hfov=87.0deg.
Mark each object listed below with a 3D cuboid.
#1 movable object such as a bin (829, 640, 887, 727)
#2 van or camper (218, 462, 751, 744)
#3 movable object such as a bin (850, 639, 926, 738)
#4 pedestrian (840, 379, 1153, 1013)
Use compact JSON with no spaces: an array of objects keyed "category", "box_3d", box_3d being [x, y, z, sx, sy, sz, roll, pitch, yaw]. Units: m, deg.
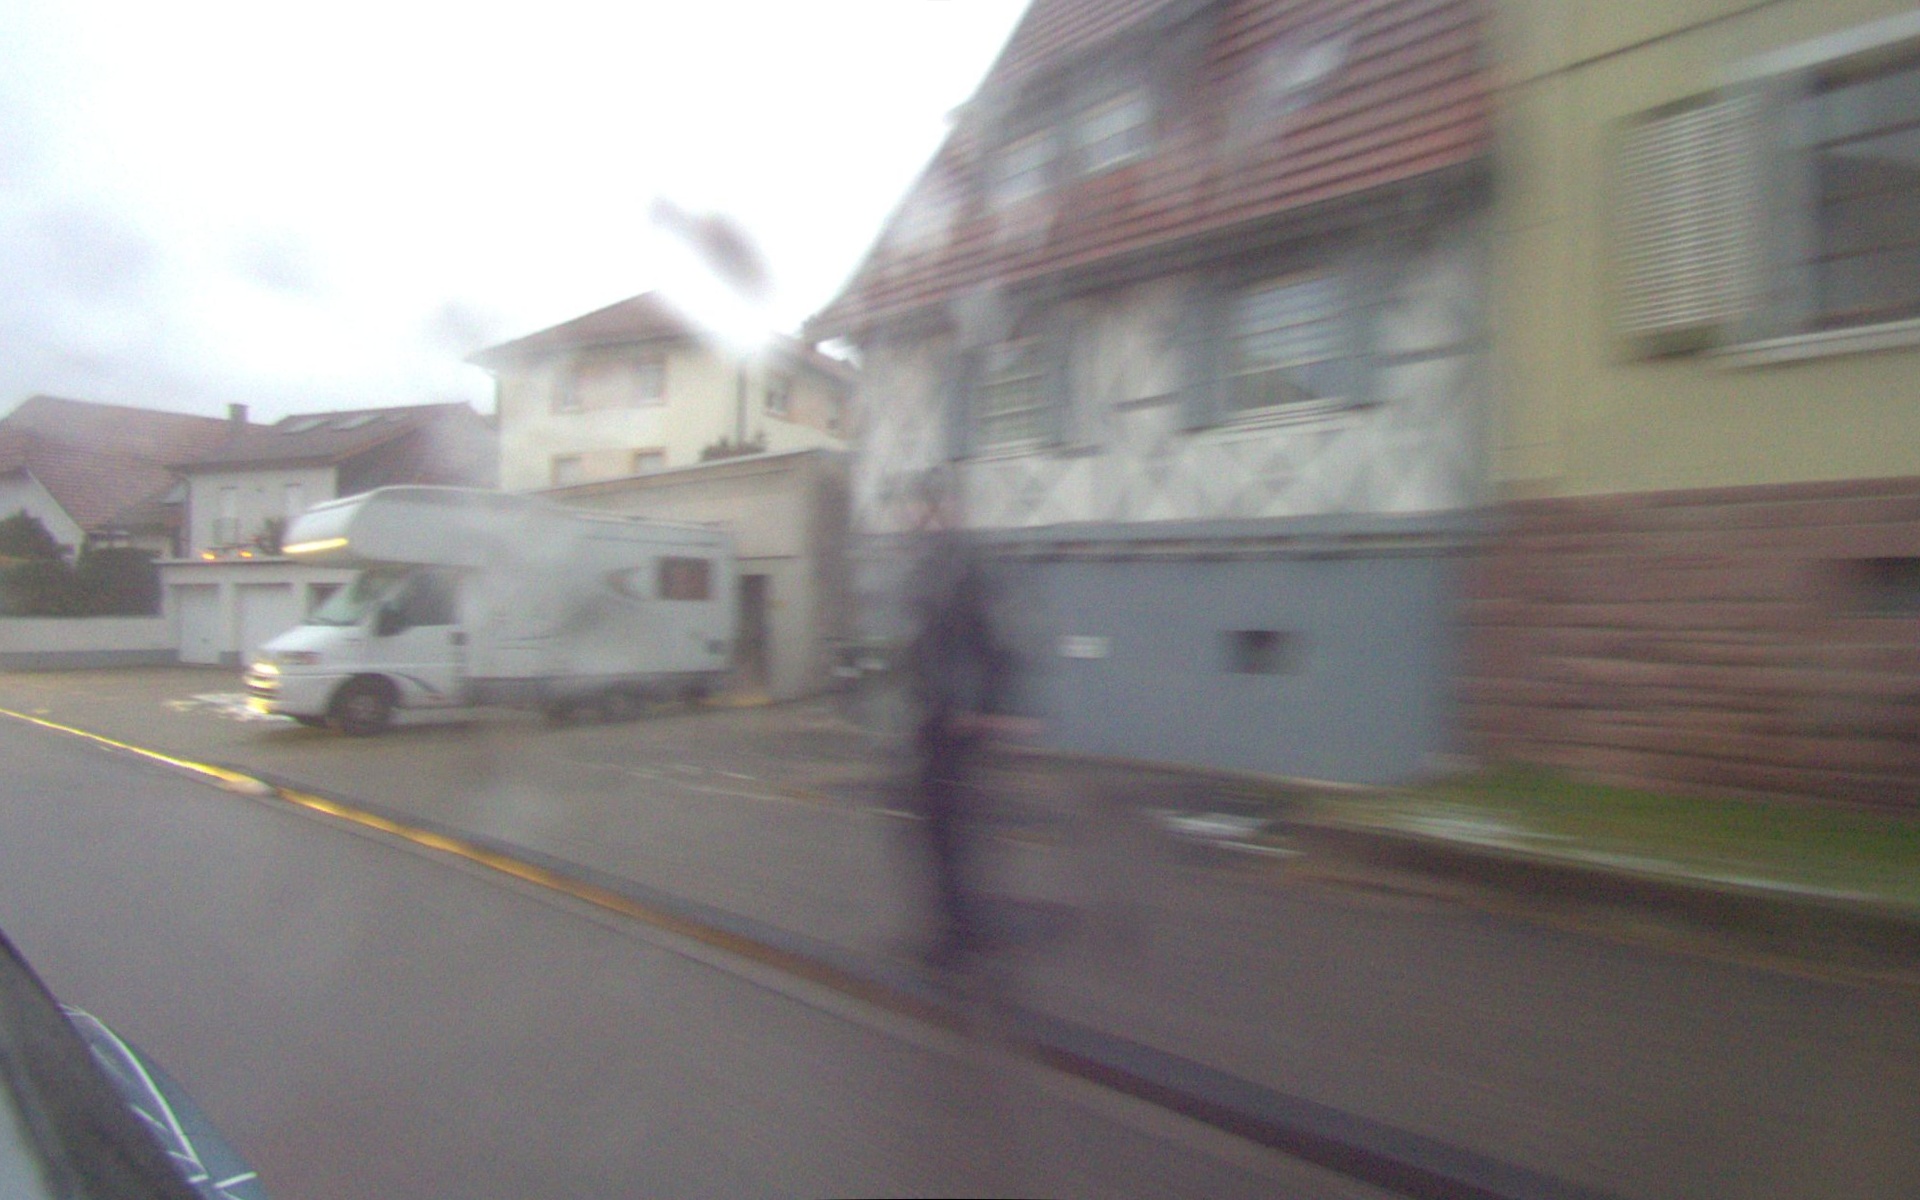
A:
[{"category":"movable object such as a bin","box_3d":[-1.184,0.945,11.697,0.451,0.955,0.502,0,-1,-43]},{"category":"van or camper","box_3d":[-6.009,0.189,13.657,2.323,2.964,5.994,-1,-4,41]},{"category":"movable object such as a bin","box_3d":[-0.799,0.965,11.256,0.609,1.028,0.581,0,-1,-43]},{"category":"pedestrian","box_3d":[0.138,0.303,3.821,0.869,2.029,0.775,0,1,42]}]
